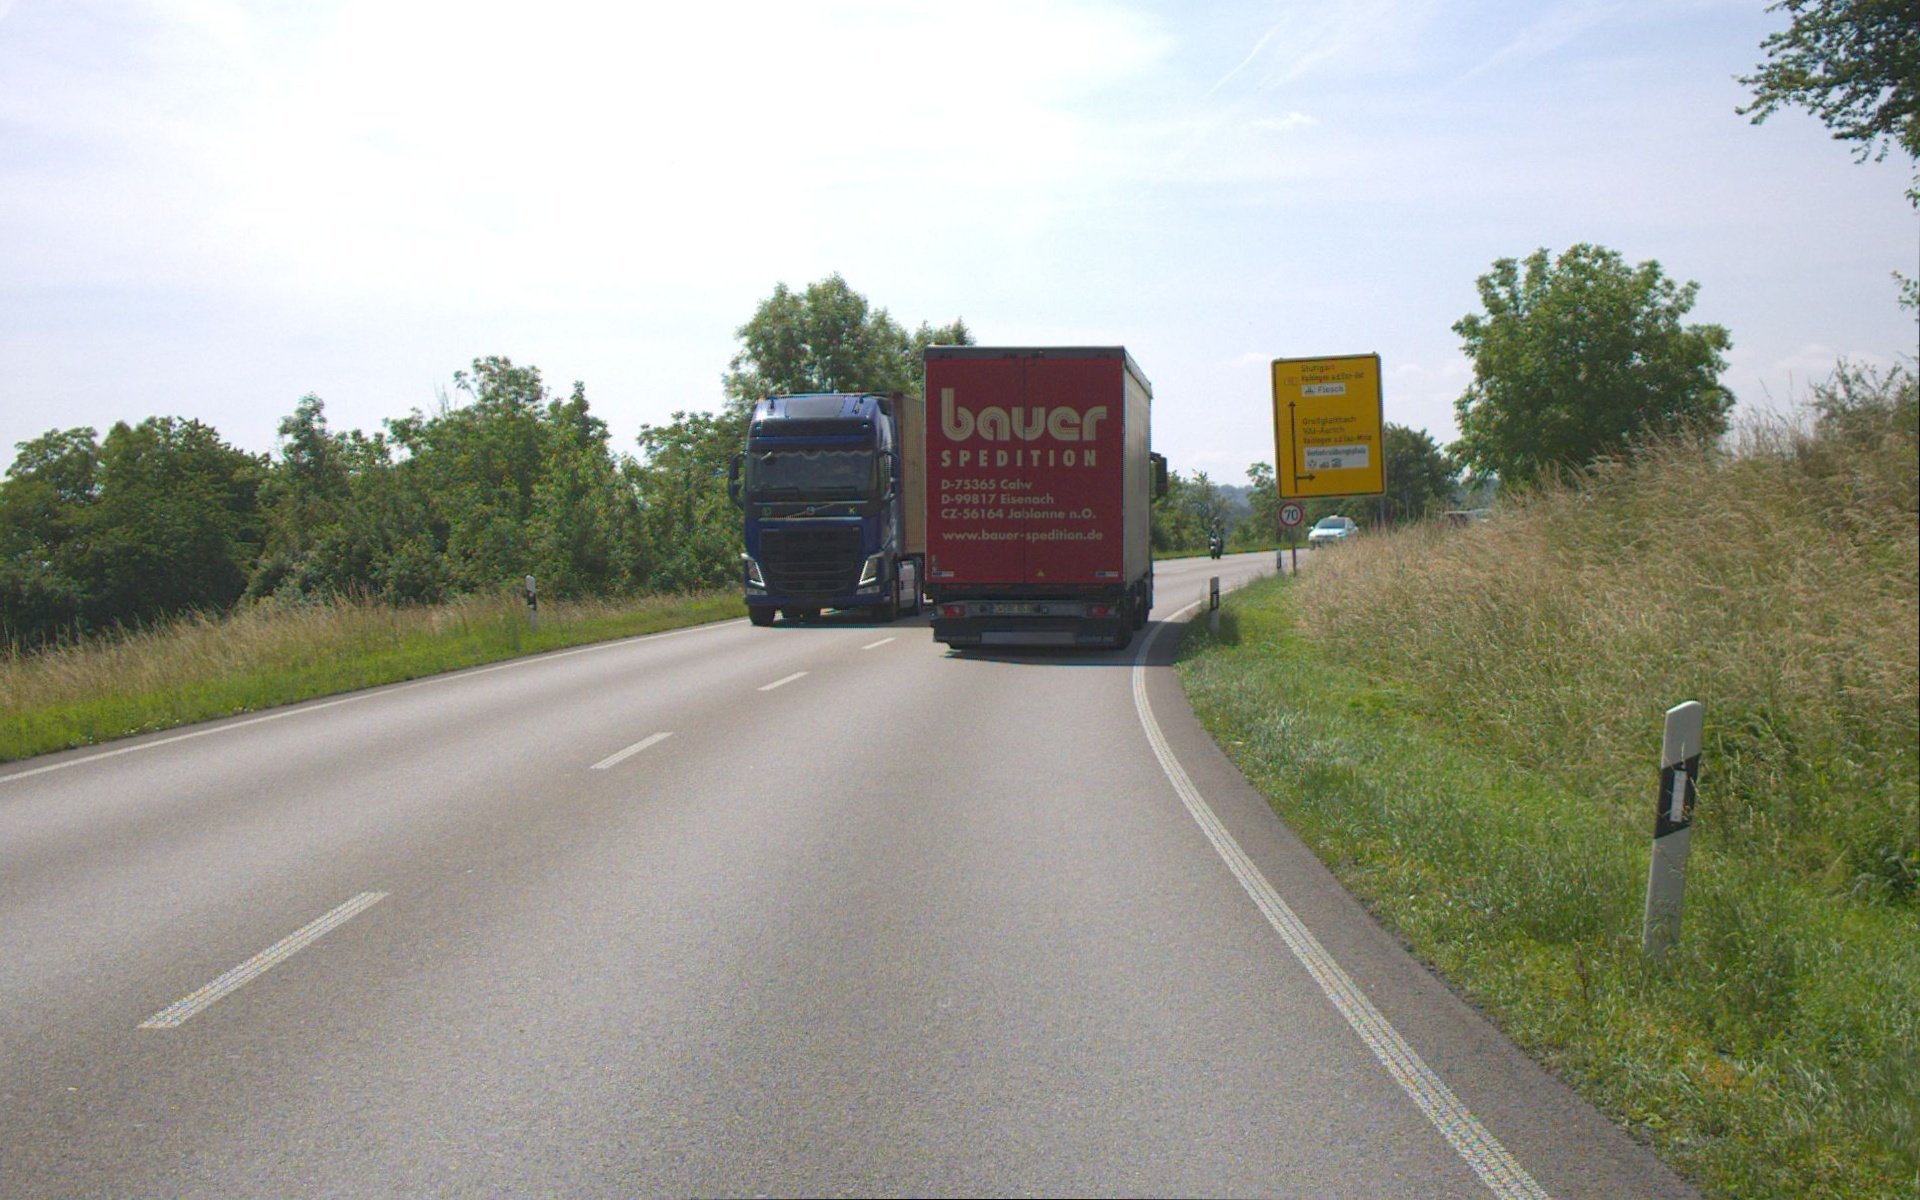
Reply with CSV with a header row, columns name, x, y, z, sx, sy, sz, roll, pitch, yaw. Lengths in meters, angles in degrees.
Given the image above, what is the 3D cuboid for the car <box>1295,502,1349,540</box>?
name,x,y,z,sx,sy,sz,roll,pitch,yaw
car,16.510,-3.597,156.571,1.791,1.517,4.158,-4,1,14

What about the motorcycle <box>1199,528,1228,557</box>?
name,x,y,z,sx,sy,sz,roll,pitch,yaw
motorcycle,9.797,-2.228,132.871,0.758,0.990,2.279,5,3,11

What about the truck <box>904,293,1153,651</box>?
name,x,y,z,sx,sy,sz,roll,pitch,yaw
truck,1.092,-1.764,49.428,3.112,4.490,12.167,0,1,2

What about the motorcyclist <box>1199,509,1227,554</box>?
name,x,y,z,sx,sy,sz,roll,pitch,yaw
motorcyclist,9.773,-2.645,132.735,0.919,1.712,0.962,0,1,12

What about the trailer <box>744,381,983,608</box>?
name,x,y,z,sx,sy,sz,roll,pitch,yaw
trailer,-1.692,-1.954,67.835,2.997,4.029,12.914,0,1,6

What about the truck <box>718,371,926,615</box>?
name,x,y,z,sx,sy,sz,roll,pitch,yaw
truck,-2.353,-1.859,60.588,2.807,4.053,5.984,-1,1,6
